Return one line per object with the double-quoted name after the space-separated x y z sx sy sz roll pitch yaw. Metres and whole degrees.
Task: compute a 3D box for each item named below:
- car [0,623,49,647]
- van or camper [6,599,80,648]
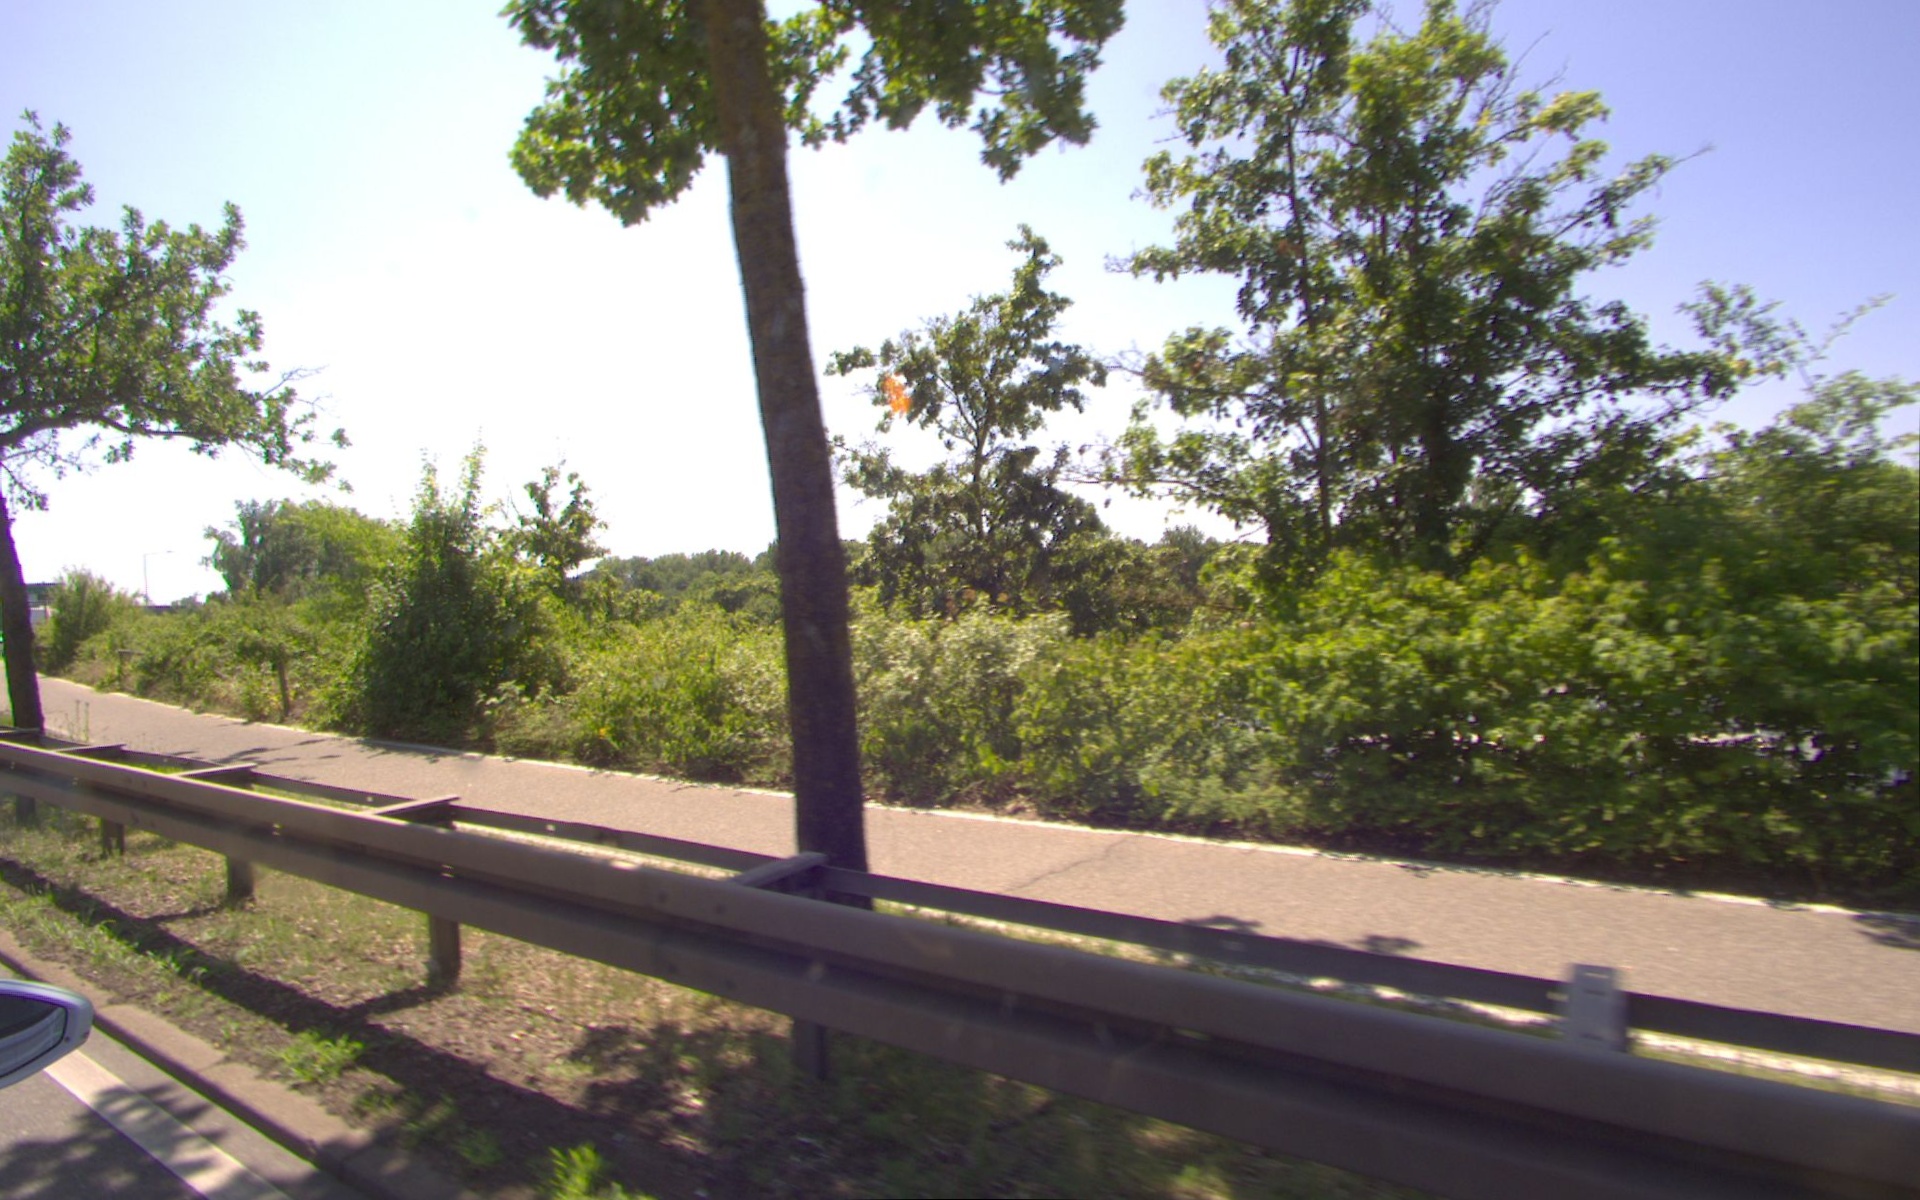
-61.239 2.248 65.075 1.990 1.563 3.747 0 -1 -25 "car"
-53.972 1.378 59.046 2.180 2.746 5.891 0 -1 -32 "van or camper"
